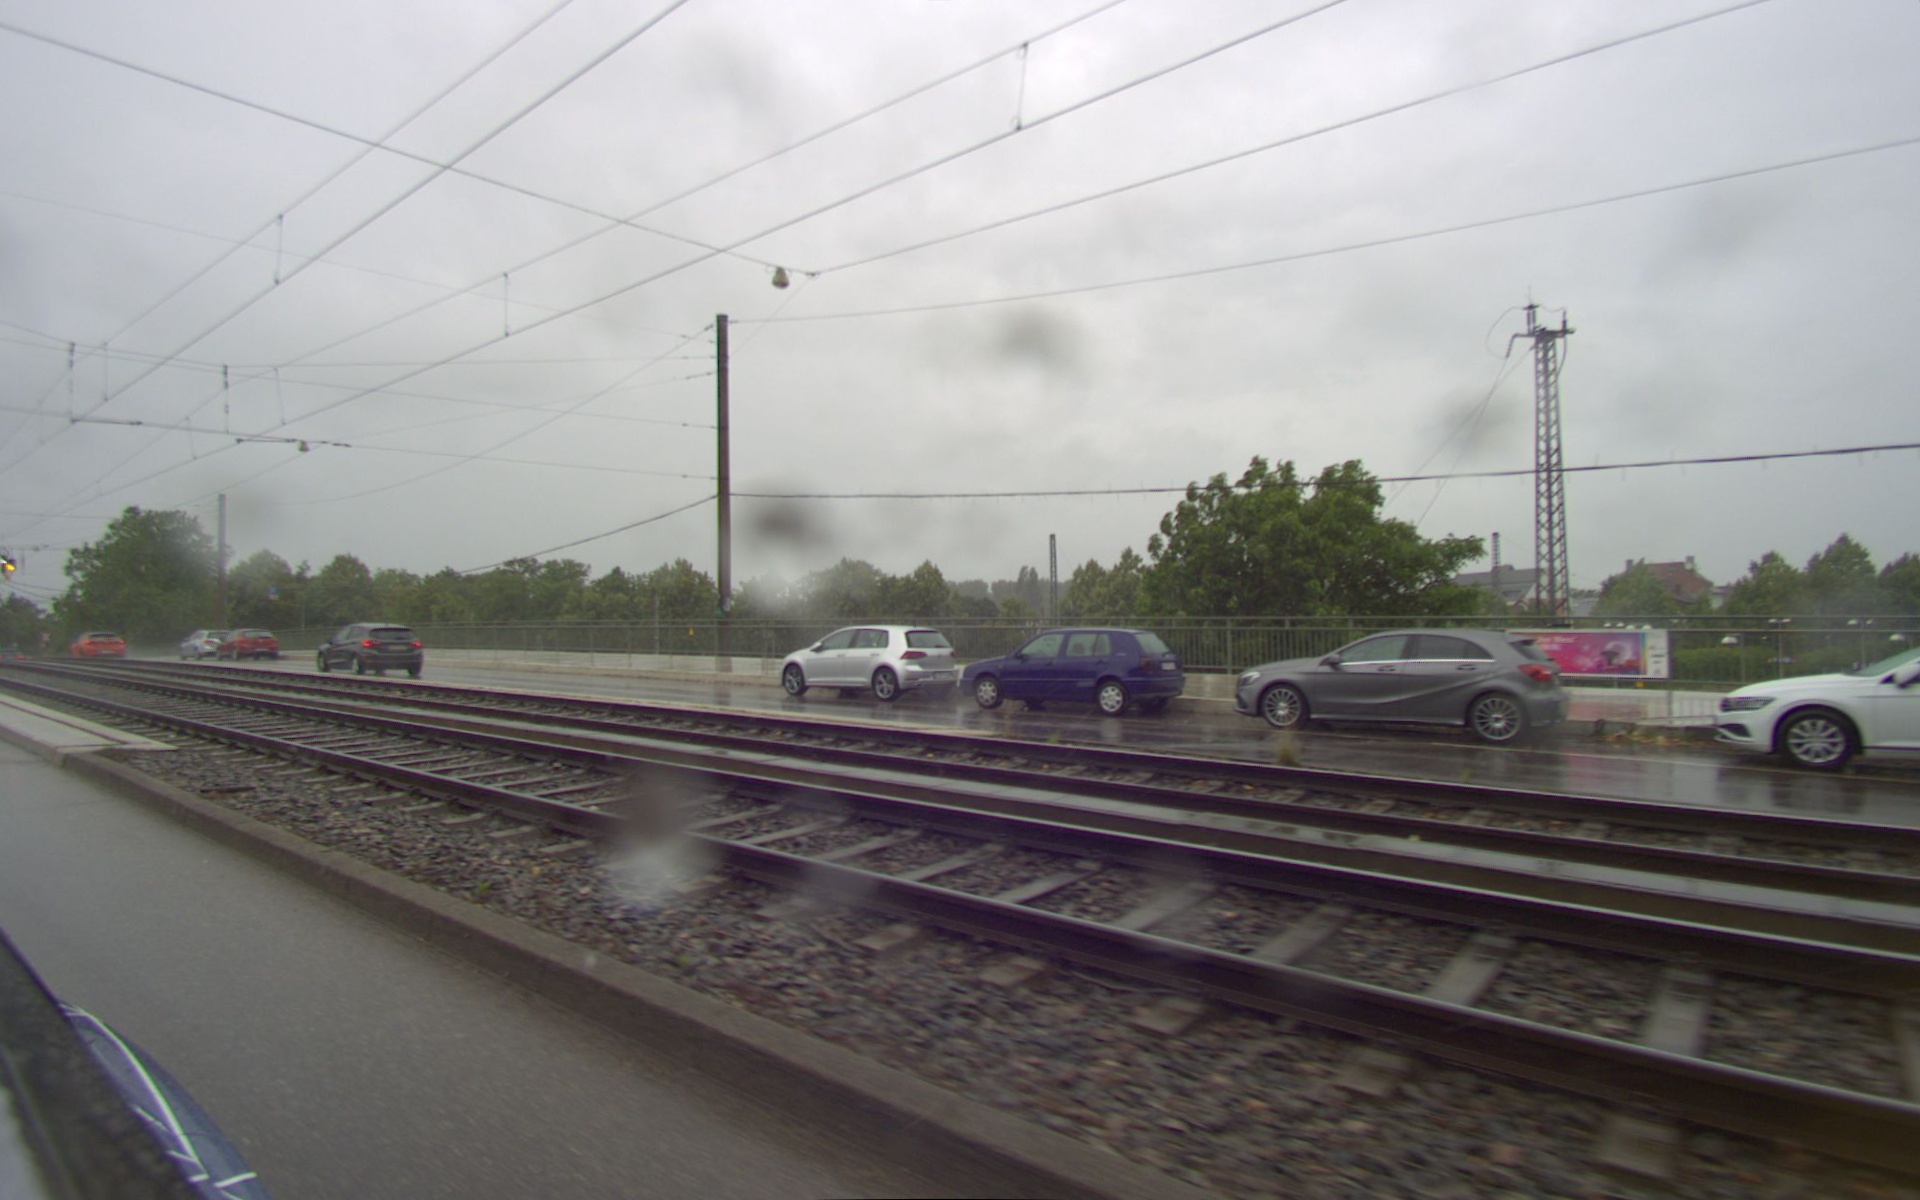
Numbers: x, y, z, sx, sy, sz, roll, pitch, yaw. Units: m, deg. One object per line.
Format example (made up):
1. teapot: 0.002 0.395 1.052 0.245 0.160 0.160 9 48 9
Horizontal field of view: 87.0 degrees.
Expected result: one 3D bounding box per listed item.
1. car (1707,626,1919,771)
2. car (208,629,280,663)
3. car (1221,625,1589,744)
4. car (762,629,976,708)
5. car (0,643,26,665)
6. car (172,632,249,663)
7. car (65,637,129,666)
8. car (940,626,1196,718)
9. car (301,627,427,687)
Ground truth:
1. car: 10.467 1.006 9.984 4.888 1.412 1.491 -3 -8 39
2. car: -33.174 2.157 46.868 4.317 1.467 1.604 -3 -4 39
3. car: 5.974 1.110 13.886 4.398 1.412 1.492 -2 -4 36
4. car: -1.927 1.385 20.752 4.314 1.467 1.845 -3 -4 39
5. car: -67.575 3.840 71.537 4.080 1.493 1.781 -3 -1 40
6. car: -37.498 2.400 50.593 4.615 1.467 1.974 -3 -4 39
7. car: -43.123 2.568 50.529 4.080 1.326 1.781 -3 -1 40
8. car: 1.773 1.223 17.505 4.276 1.412 1.491 -3 -4 39
9. car: -17.114 1.647 28.993 4.261 1.379 1.797 -7 -3 40
